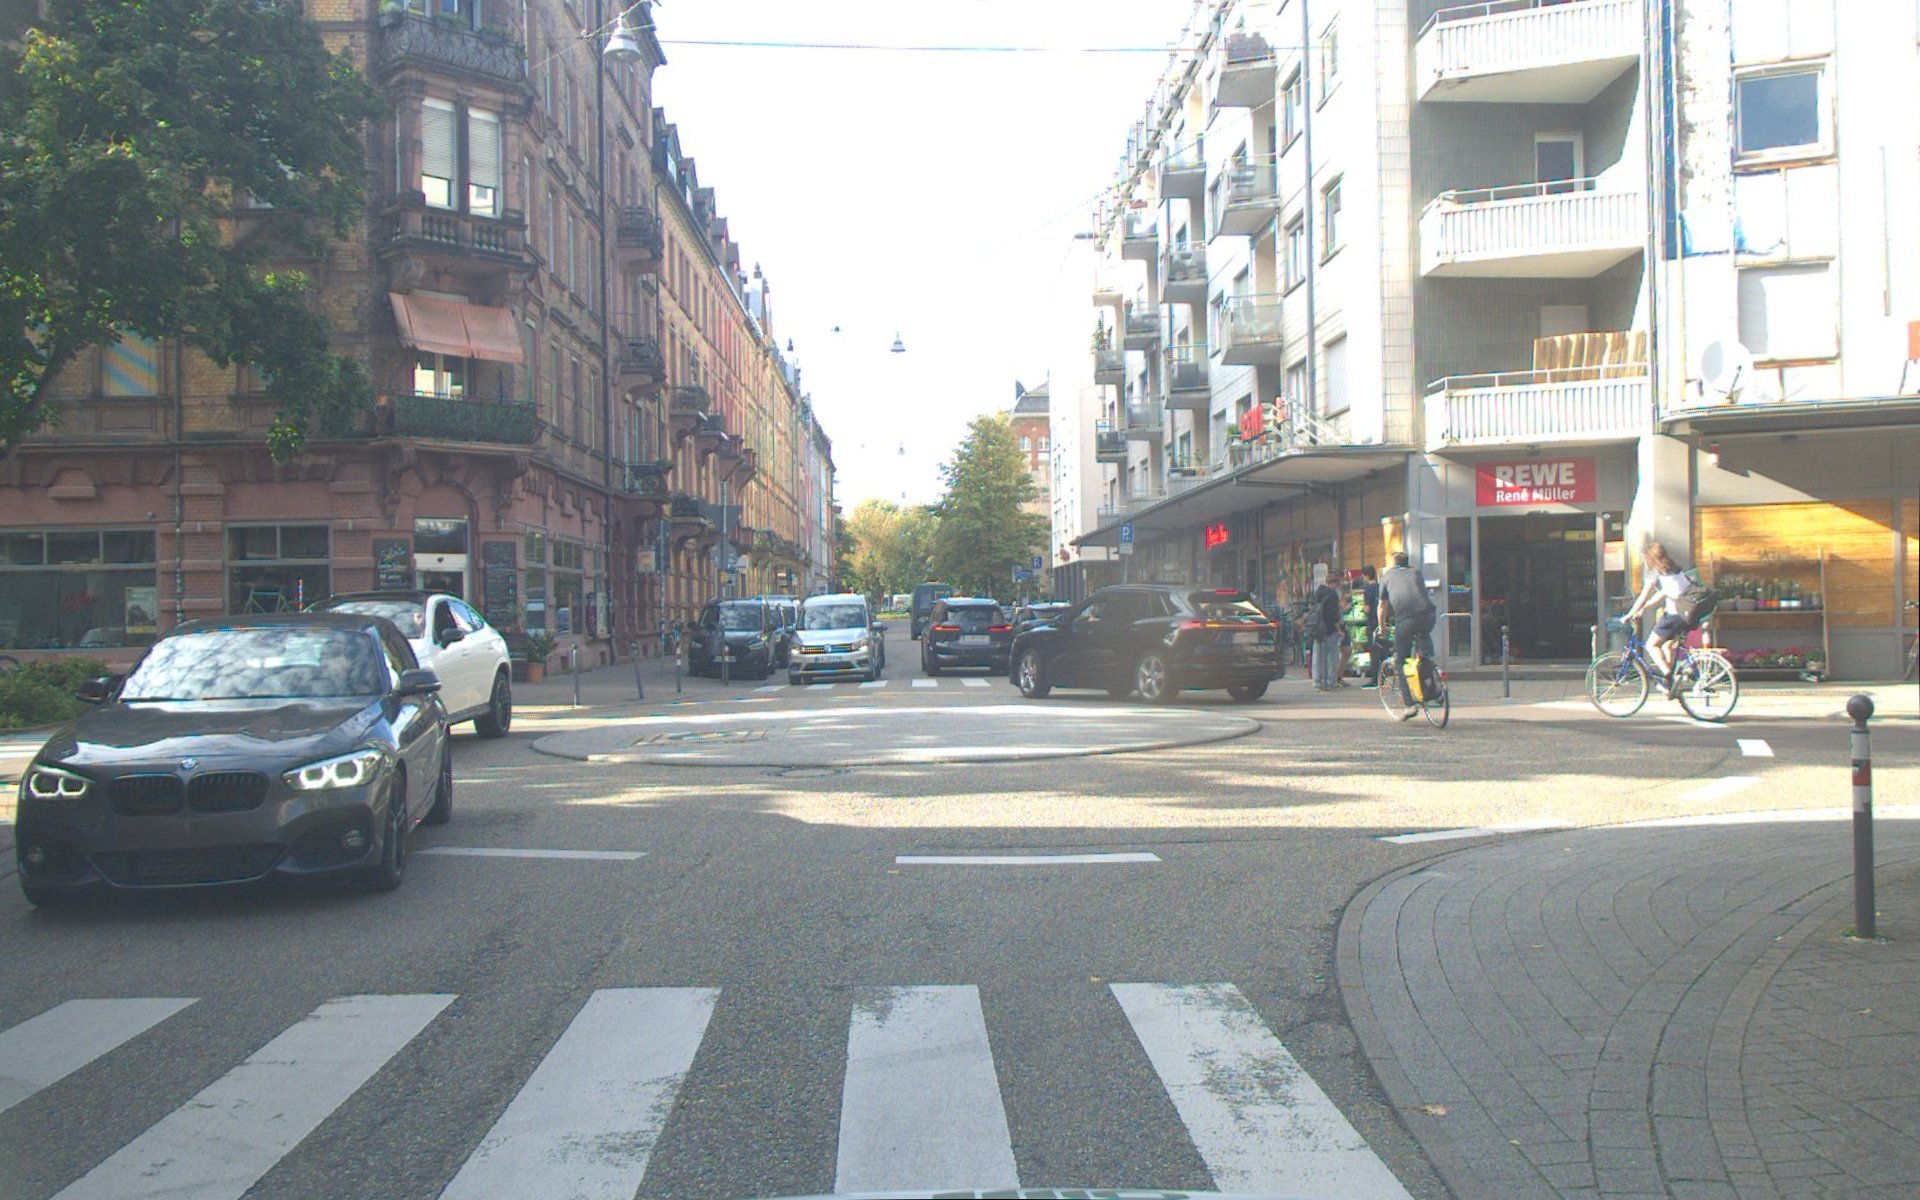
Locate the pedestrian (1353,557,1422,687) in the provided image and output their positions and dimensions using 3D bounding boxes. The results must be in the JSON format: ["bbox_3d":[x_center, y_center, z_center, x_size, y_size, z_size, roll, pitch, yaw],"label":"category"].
[{"bbox_3d":[6.341,0.322,24.559,0.850,1.883,0.613,-1,0,3],"label":"pedestrian"}]

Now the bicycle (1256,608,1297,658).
[{"bbox_3d":[6.742,0.692,35.280,0.353,1.016,1.713,-1,0,-6],"label":"bicycle"}]

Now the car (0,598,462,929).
[{"bbox_3d":[-3.917,0.758,9.584,1.720,1.461,4.196,0,-1,-13],"label":"car"}]

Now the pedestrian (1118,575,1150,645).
[{"bbox_3d":[4.837,0.280,46.051,0.715,1.897,1.063,-1,0,13],"label":"pedestrian"}]

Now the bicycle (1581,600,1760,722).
[{"bbox_3d":[7.579,0.623,17.758,0.698,1.220,1.968,-1,0,-14],"label":"bicycle"}]

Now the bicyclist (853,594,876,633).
[{"bbox_3d":[-5.013,0.719,87.029,1.111,2.033,1.027,1,-1,-6],"label":"bicyclist"}]

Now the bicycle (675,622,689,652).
[{"bbox_3d":[-9.054,1.196,53.847,0.353,0.963,1.713,0,0,-6],"label":"bicycle"}]

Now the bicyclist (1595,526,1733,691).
[{"bbox_3d":[7.537,0.088,17.739,0.924,1.697,1.013,-1,0,-13],"label":"bicyclist"}]

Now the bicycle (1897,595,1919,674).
[{"bbox_3d":[13.568,0.460,22.210,1.652,1.069,0.456,-1,0,38],"label":"bicycle"}]

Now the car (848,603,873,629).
[{"bbox_3d":[-8.389,1.332,139.616,1.953,2.049,3.998,-1,0,-2],"label":"car"}]

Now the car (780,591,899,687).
[{"bbox_3d":[-2.461,0.764,34.845,1.755,1.822,4.738,-2,0,4],"label":"car"}]

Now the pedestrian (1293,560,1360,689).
[{"bbox_3d":[5.454,0.360,24.638,0.850,1.883,0.613,-1,0,3],"label":"pedestrian"}]

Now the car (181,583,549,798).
[{"bbox_3d":[-5.899,0.784,17.148,1.902,1.752,4.851,-3,1,1],"label":"car"}]

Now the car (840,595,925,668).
[{"bbox_3d":[-1.982,0.786,43.638,1.888,1.754,4.736,-3,0,1],"label":"car"}]

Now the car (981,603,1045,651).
[{"bbox_3d":[1.775,0.882,56.416,1.953,1.512,3.999,-2,0,-1],"label":"car"}]

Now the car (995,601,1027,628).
[{"bbox_3d":[2.845,0.805,93.095,1.612,1.347,3.576,-4,0,0],"label":"car"}]

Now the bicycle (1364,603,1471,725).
[{"bbox_3d":[4.823,0.636,17.592,0.651,1.198,2.498,0,0,5],"label":"bicycle"}]

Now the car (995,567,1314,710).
[{"bbox_3d":[2.647,0.491,23.755,2.016,1.754,4.794,-3,1,-31],"label":"car"}]

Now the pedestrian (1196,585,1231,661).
[{"bbox_3d":[5.637,0.514,36.766,0.729,1.657,0.813,-1,0,9],"label":"pedestrian"}]

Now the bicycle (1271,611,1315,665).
[{"bbox_3d":[6.612,0.744,32.912,0.356,1.034,1.428,-1,0,-10],"label":"bicycle"}]

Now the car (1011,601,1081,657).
[{"bbox_3d":[2.277,0.751,44.713,1.612,1.347,3.576,-4,0,0],"label":"car"}]

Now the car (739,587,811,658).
[{"bbox_3d":[-5.664,0.661,51.051,1.954,2.049,3.997,-2,0,-4],"label":"car"}]

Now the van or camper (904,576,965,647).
[{"bbox_3d":[-1.205,0.505,75.139,2.481,3.090,4.455,-1,0,-4],"label":"van or camper"}]

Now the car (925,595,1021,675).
[{"bbox_3d":[0.236,0.739,36.803,1.953,1.646,3.998,-1,0,-2],"label":"car"}]

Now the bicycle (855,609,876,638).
[{"bbox_3d":[-4.988,1.221,87.055,0.907,1.515,3.459,1,-1,-6],"label":"bicycle"}]

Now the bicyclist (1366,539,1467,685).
[{"bbox_3d":[4.818,0.129,17.508,0.913,1.510,0.747,0,-1,5],"label":"bicyclist"}]

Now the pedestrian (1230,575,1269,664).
[{"bbox_3d":[5.803,0.392,33.203,0.725,1.742,0.734,-1,0,9],"label":"pedestrian"}]

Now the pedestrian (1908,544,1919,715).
[{"bbox_3d":[10.207,0.300,16.925,0.615,1.769,0.776,-1,0,10],"label":"pedestrian"}]

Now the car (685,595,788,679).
[{"bbox_3d":[-5.204,0.814,38.986,1.746,1.754,4.445,0,1,1],"label":"car"}]
